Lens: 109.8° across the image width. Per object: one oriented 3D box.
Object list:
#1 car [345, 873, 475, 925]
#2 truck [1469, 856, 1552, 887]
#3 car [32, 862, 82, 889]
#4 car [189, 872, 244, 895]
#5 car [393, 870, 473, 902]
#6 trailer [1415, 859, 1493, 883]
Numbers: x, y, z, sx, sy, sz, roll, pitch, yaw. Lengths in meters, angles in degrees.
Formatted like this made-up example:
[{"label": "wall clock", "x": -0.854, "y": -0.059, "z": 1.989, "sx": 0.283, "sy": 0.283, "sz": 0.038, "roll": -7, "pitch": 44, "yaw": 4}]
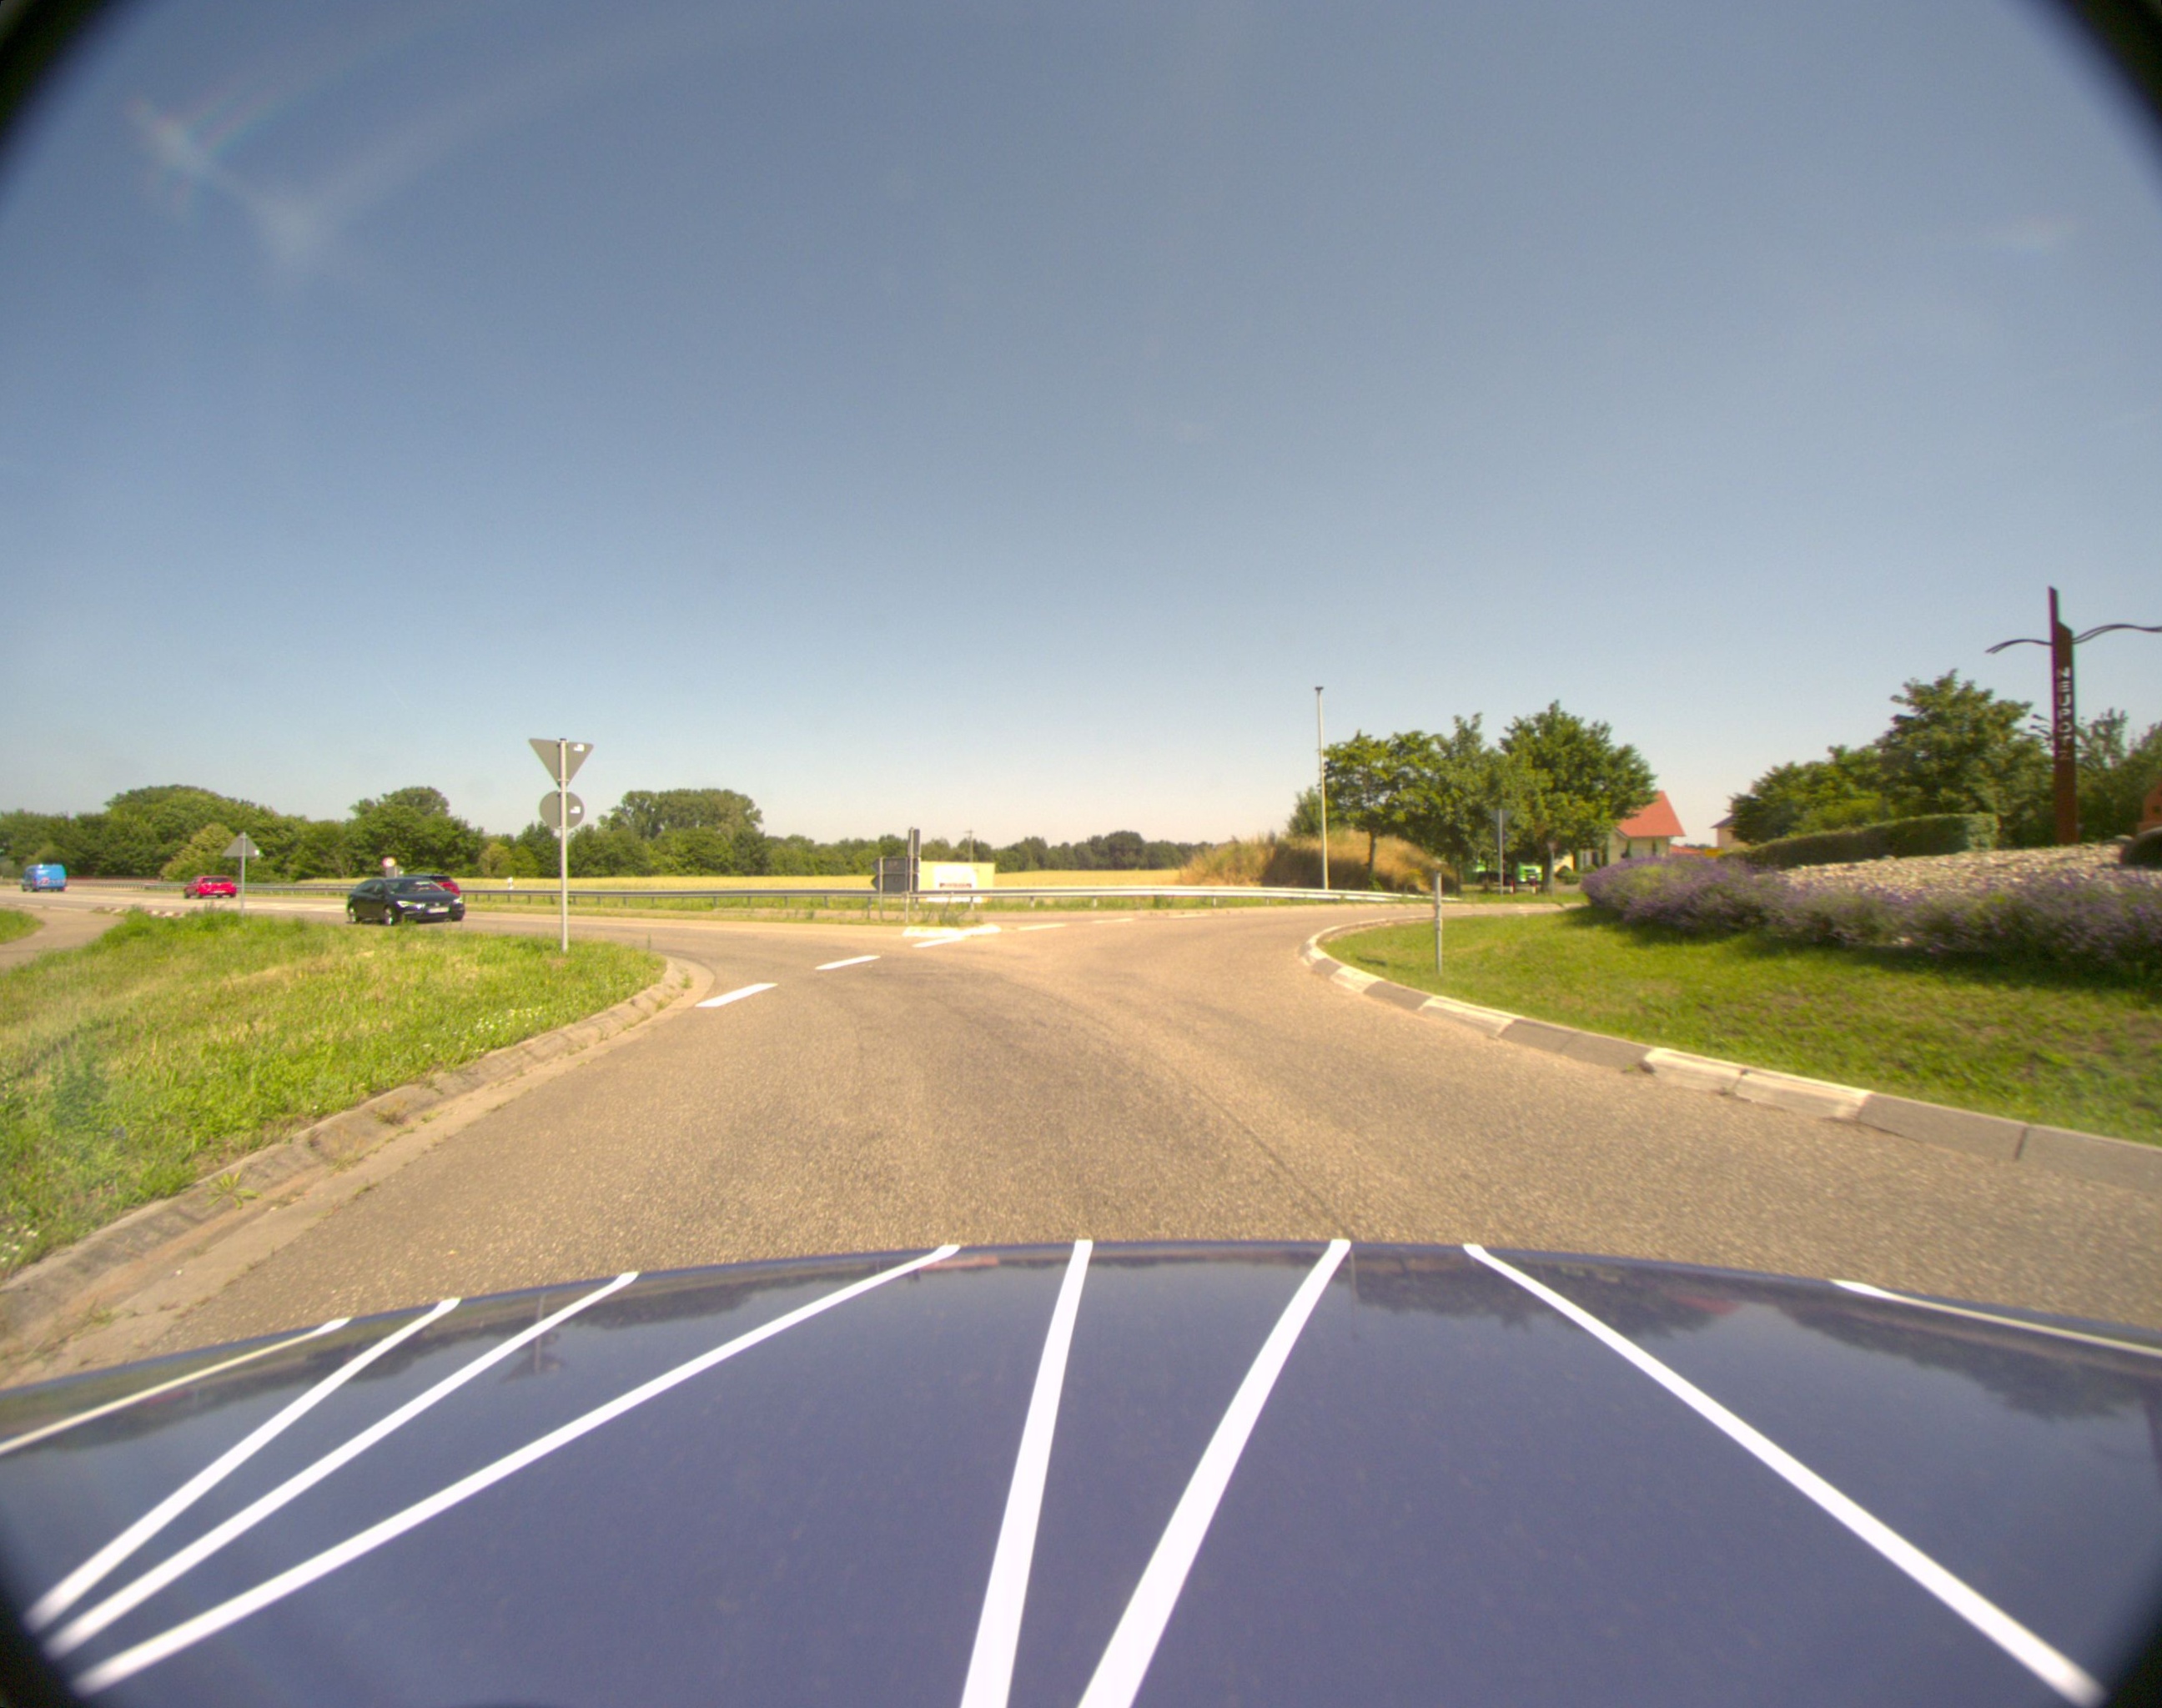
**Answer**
[{"label": "car", "x": -21.047, "y": 1.351, "z": 23.806, "sx": 4.168, "sy": 1.390, "sz": 1.811, "roll": 0, "pitch": 1, "yaw": 30}, {"label": "truck", "x": 38.891, "y": 1.513, "z": 69.147, "sx": 2.521, "sy": 2.634, "sz": 7.682, "roll": 0, "pitch": 0, "yaw": -6}, {"label": "car", "x": -102.572, "y": 2.114, "z": 76.075, "sx": 7.270, "sy": 2.595, "sz": 2.004, "roll": 0, "pitch": -2, "yaw": 29}, {"label": "car", "x": -58.693, "y": 1.995, "z": 51.580, "sx": 3.792, "sy": 1.482, "sz": 1.636, "roll": 0, "pitch": -1, "yaw": 28}, {"label": "car", "x": -32.029, "y": 1.567, "z": 37.545, "sx": 3.821, "sy": 1.513, "sz": 1.753, "roll": -1, "pitch": -2, "yaw": 29}, {"label": "trailer", "x": 38.115, "y": 1.665, "z": 78.190, "sx": 2.000, "sy": 2.264, "sz": 10.485, "roll": 0, "pitch": 0, "yaw": -6}]
